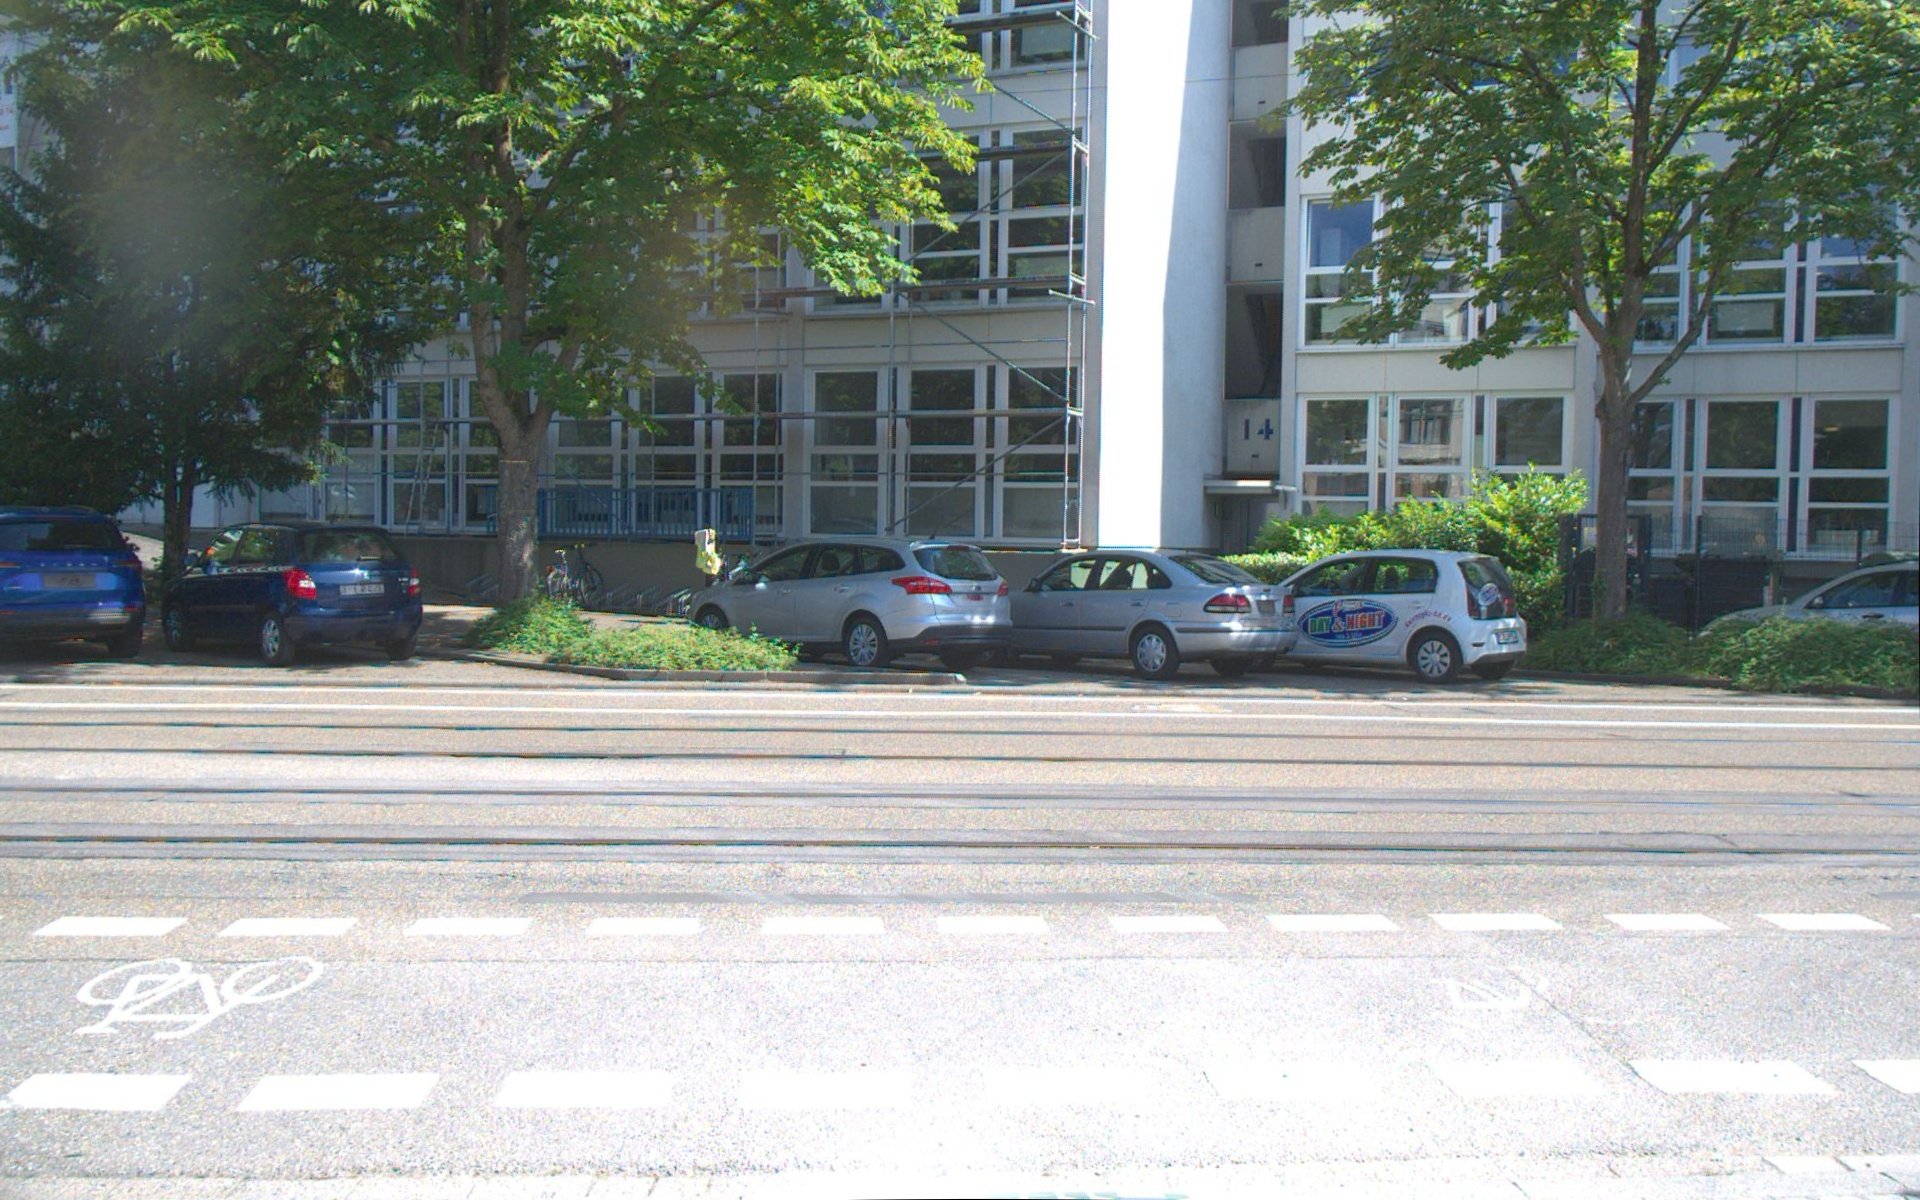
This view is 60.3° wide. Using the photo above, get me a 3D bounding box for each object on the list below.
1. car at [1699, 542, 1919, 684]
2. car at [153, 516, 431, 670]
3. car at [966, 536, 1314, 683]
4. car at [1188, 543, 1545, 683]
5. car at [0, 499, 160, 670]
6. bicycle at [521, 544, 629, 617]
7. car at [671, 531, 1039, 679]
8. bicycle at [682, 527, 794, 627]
[{"bbox_3d":[11.452,0.144,20.074,4.262,1.632,1.551,2,2,39],"label":"car"},{"bbox_3d":[-7.542,-0.138,18.550,3.396,1.557,1.567,3,3,42],"label":"car"},{"bbox_3d":[2.020,0.037,19.333,3.878,1.511,1.602,3,3,44],"label":"car"},{"bbox_3d":[4.773,0.091,19.742,3.876,1.512,1.603,1,2,43],"label":"car"},{"bbox_3d":[-10.499,-0.264,18.403,1.767,1.650,3.883,-2,5,-44],"label":"car"},{"bbox_3d":[-6.161,-0.340,26.599,0.725,1.104,2.205,1,2,15],"label":"bicycle"},{"bbox_3d":[-1.323,-0.023,19.411,4.356,1.511,1.774,3,3,42],"label":"car"},{"bbox_3d":[-3.440,-0.376,25.842,0.648,1.478,2.088,2,2,27],"label":"bicycle"}]
